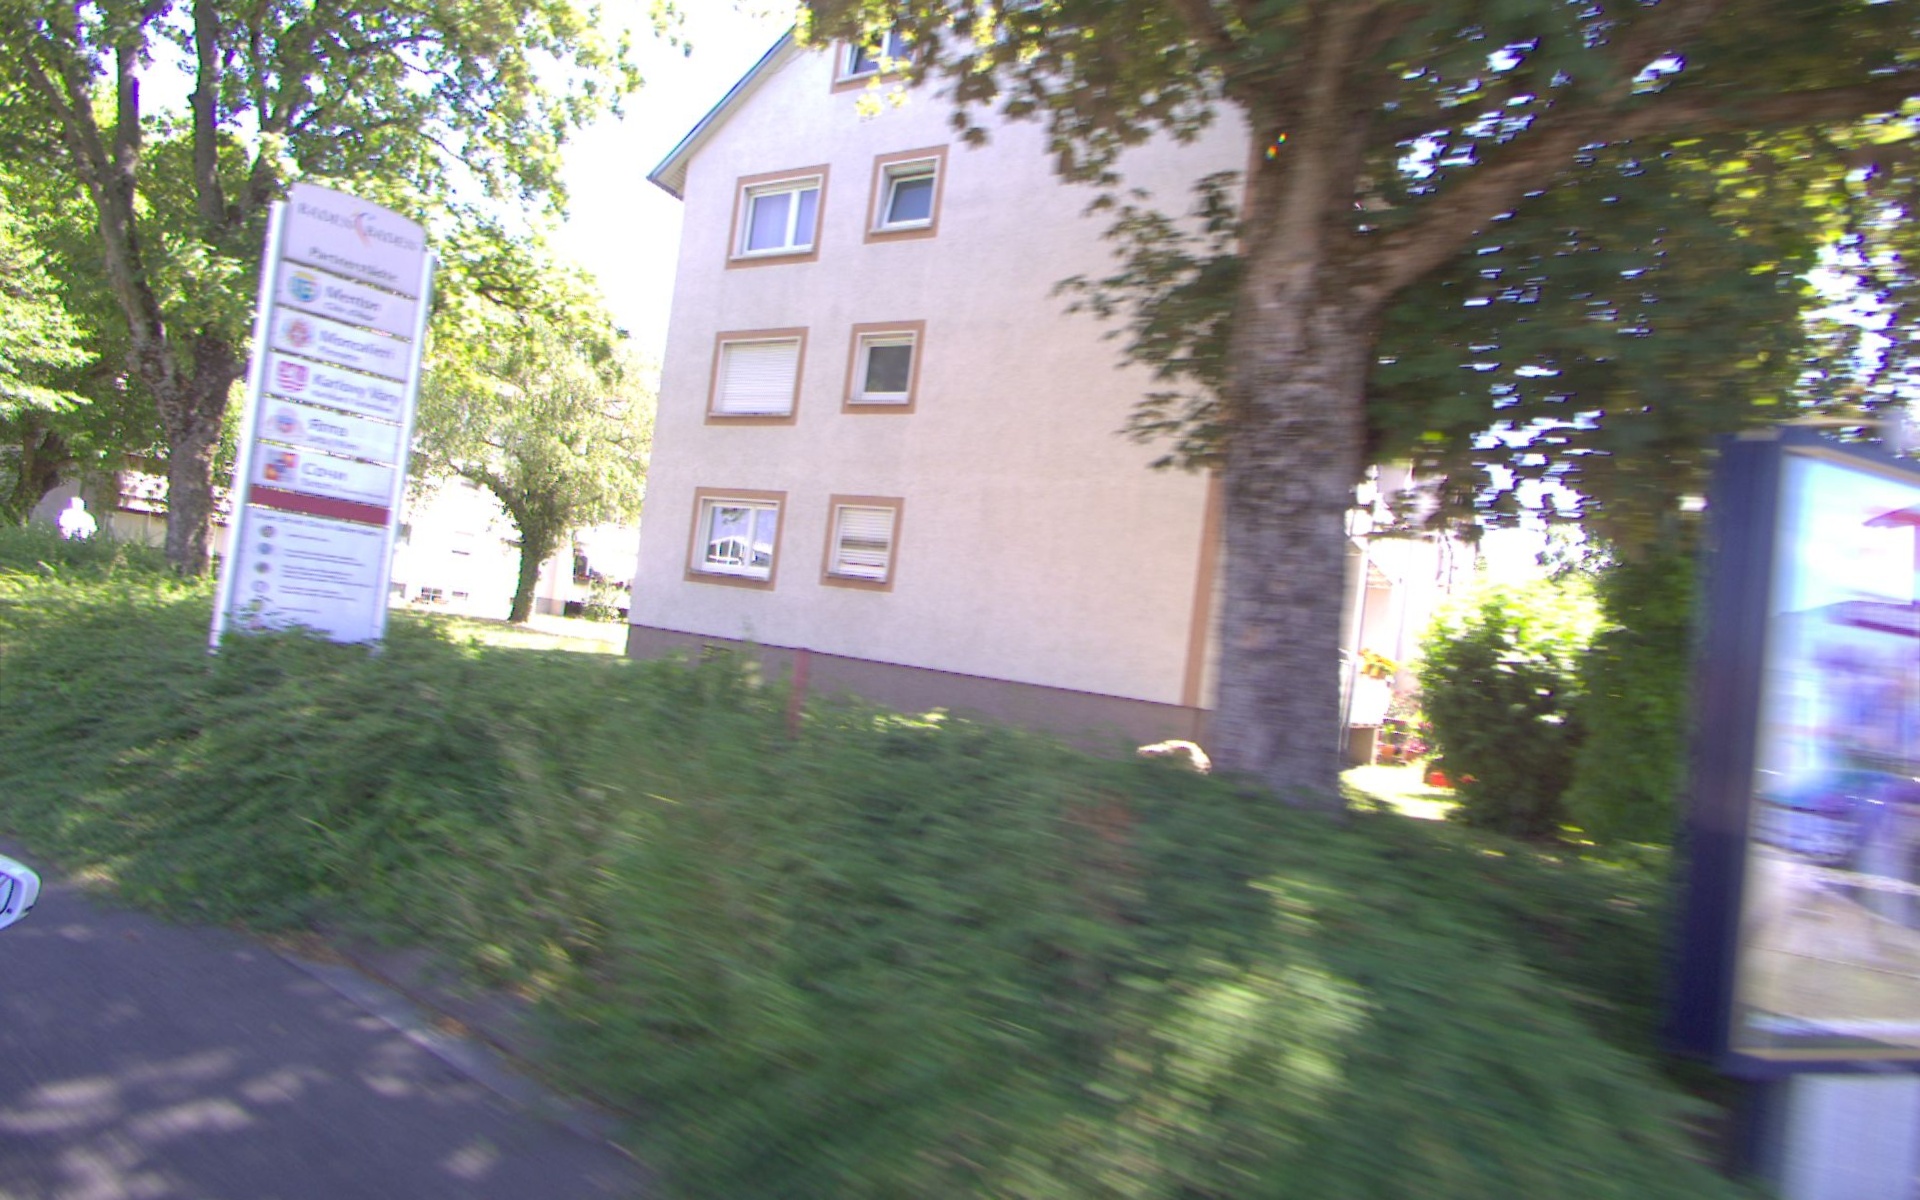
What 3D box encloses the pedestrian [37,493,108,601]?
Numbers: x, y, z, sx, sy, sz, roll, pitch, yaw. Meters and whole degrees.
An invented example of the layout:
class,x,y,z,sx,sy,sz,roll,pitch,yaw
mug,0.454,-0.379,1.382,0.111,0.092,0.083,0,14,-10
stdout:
class,x,y,z,sx,sy,sz,roll,pitch,yaw
pedestrian,-16.930,-1.001,19.193,0.650,1.937,0.704,6,-1,35
